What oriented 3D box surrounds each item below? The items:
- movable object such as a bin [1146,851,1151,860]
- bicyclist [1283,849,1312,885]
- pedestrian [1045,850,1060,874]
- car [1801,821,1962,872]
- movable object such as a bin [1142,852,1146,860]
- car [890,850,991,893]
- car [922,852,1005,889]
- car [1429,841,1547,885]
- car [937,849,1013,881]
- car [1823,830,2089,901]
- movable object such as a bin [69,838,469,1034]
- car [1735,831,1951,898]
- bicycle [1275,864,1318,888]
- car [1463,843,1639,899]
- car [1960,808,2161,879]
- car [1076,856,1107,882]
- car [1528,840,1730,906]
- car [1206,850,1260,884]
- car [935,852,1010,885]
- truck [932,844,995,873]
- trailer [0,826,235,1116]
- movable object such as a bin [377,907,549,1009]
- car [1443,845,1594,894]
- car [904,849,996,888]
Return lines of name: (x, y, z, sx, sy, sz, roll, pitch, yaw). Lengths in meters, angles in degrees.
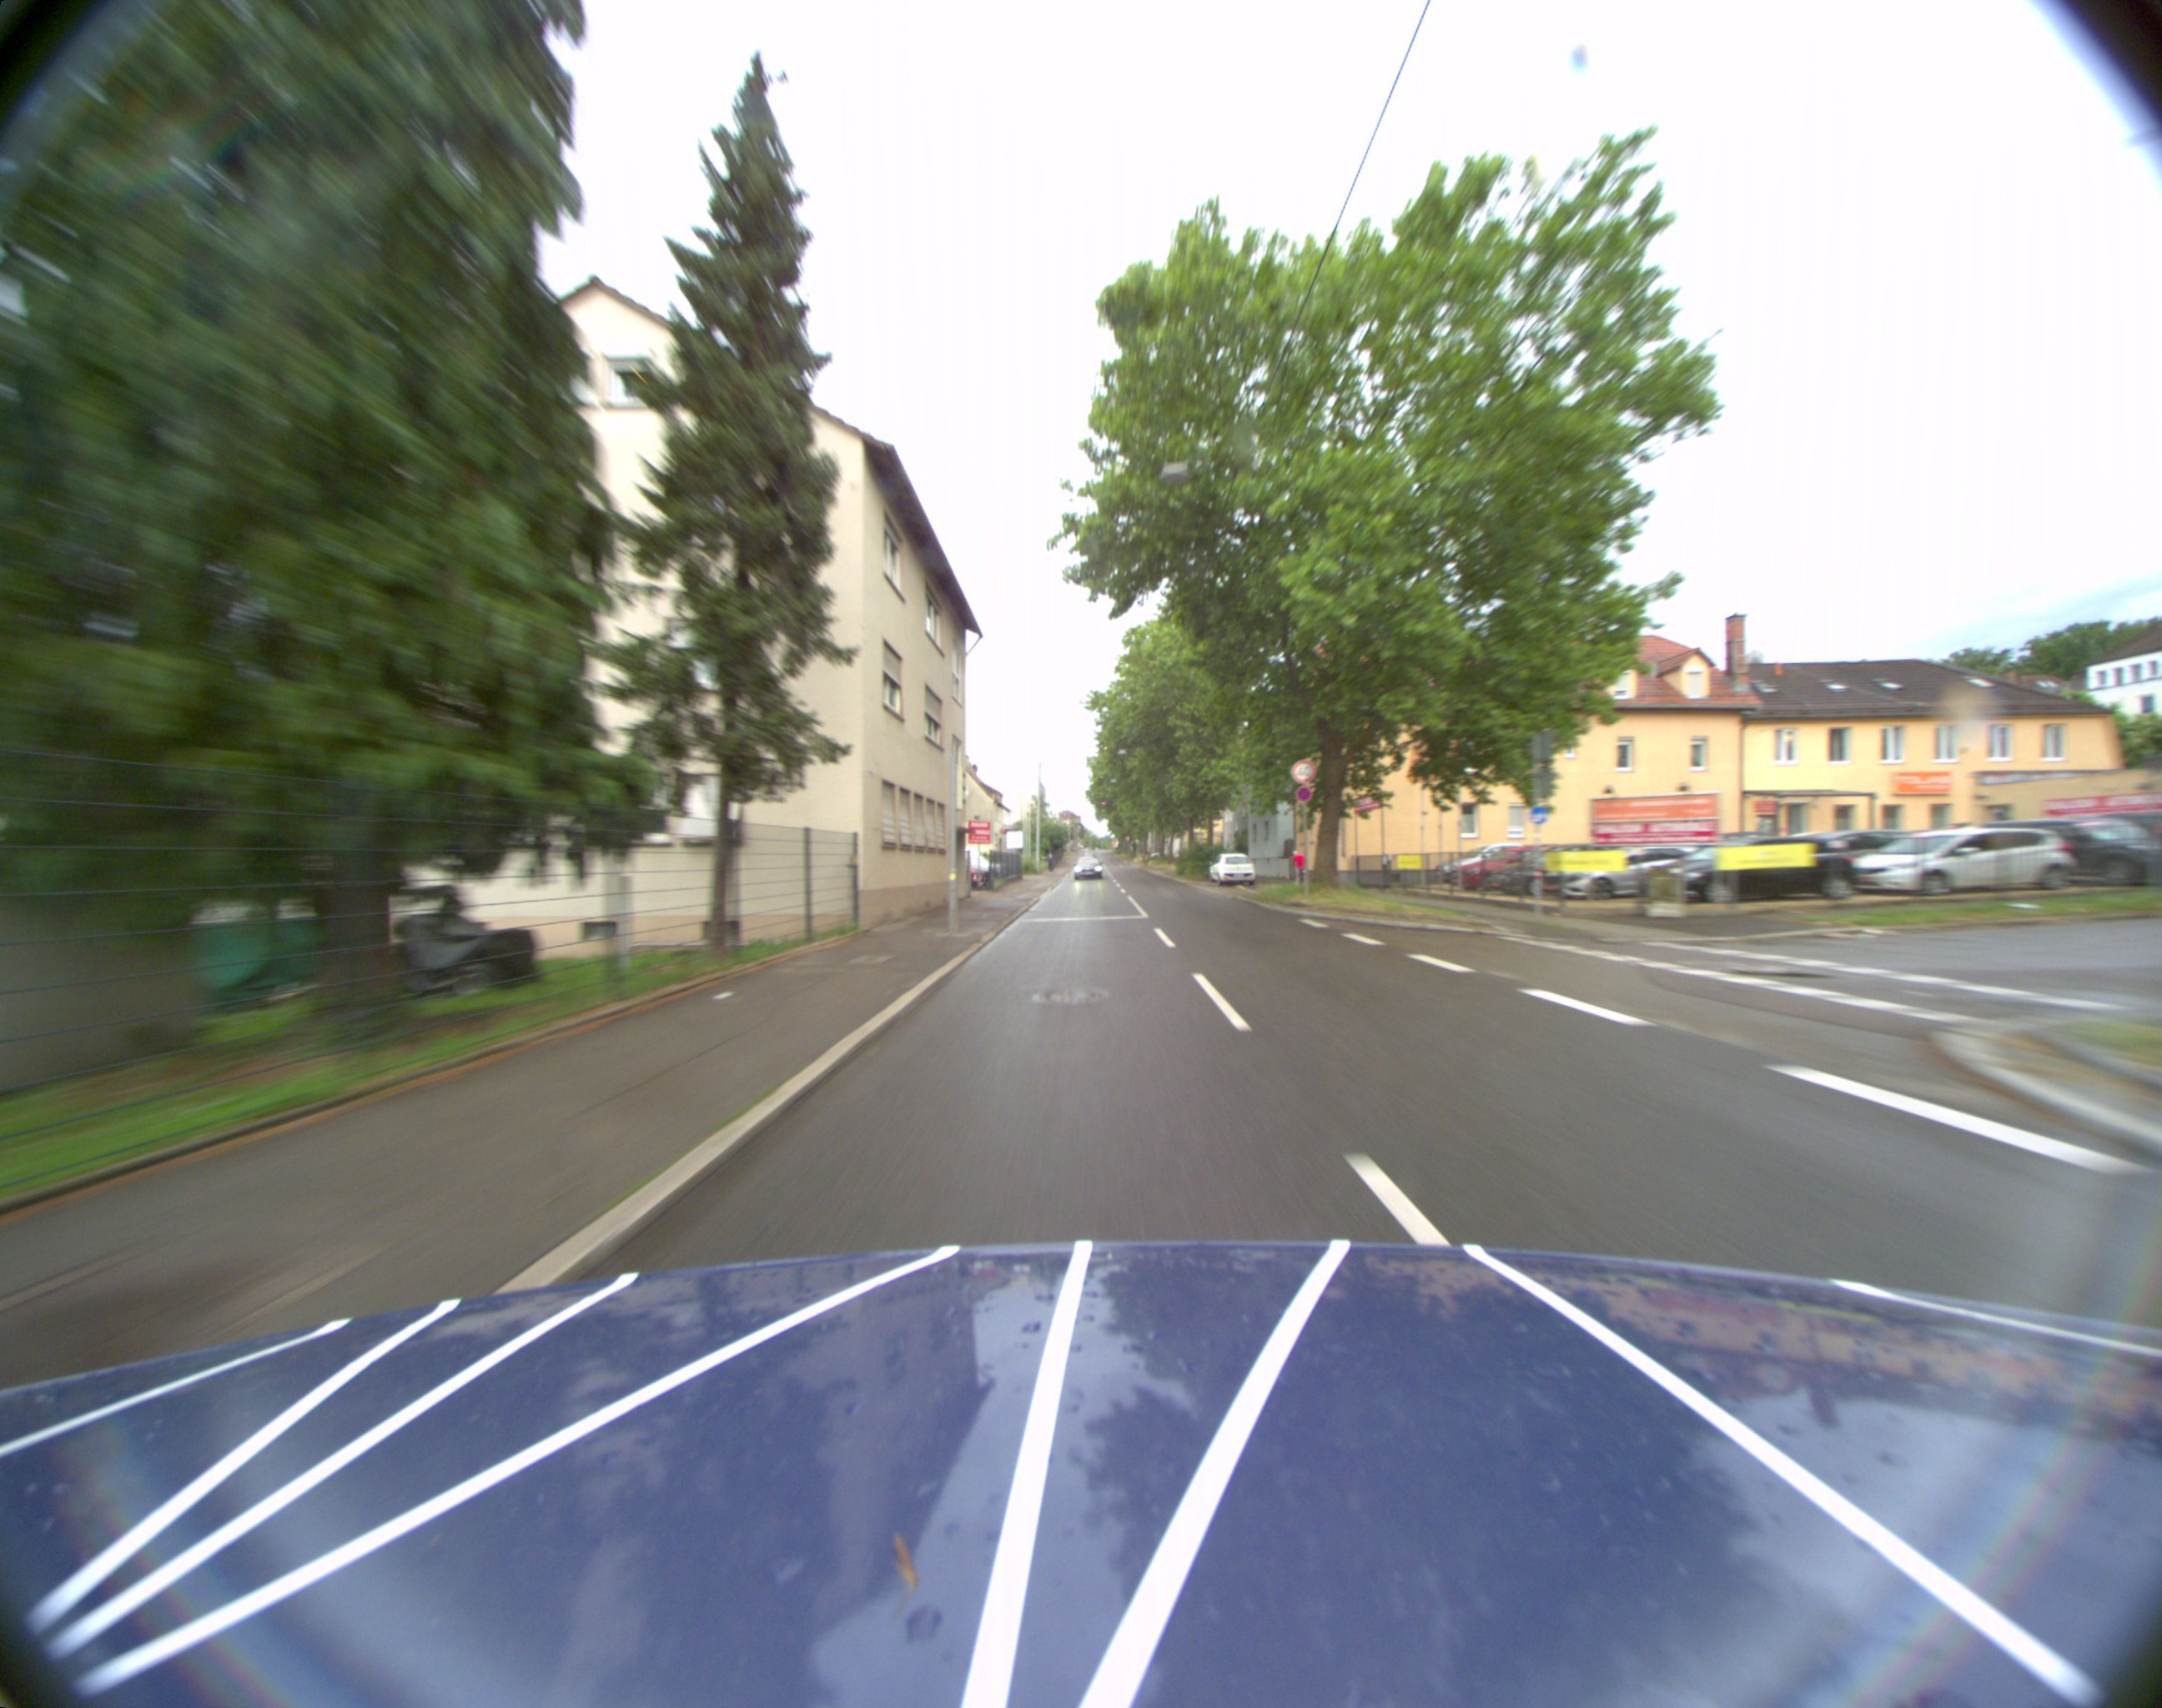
movable object such as a bin: (8.381, 0.201, 94.187, 0.536, 1.051, 0.762, 0, 2, 1)
bicyclist: (9.673, 0.551, 33.960, 0.836, 1.544, 0.815, -3, 2, -22)
pedestrian: (-2.245, 0.615, 59.525, 1.045, 1.887, 0.900, -1, 2, 1)
car: (30.137, -0.298, 28.694, 3.996, 1.674, 1.886, -2, 2, 2)
movable object such as a bin: (7.818, 0.253, 94.123, 0.513, 0.922, 0.581, 0, 2, 1)
car: (-6.479, 0.778, 35.338, 4.238, 1.726, 1.869, -2, 2, 1)
car: (-6.306, 0.881, 41.124, 4.077, 1.726, 1.869, -2, 2, 1)
car: (17.274, 0.378, 32.393, 3.996, 1.605, 1.782, -3, 1, 3)
car: (-6.442, 0.647, 46.612, 4.313, 1.758, 1.999, -2, 2, 1)
car: (21.072, 0.241, 18.455, 4.178, 1.488, 1.999, -2, 2, -1)
movable object such as a bin: (-10.777, 0.951, 10.440, 1.907, 2.230, 3.094, -2, 2, 8)
car: (20.925, 0.249, 21.009, 3.997, 1.643, 1.999, -2, 2, 0)
bicycle: (9.633, 0.970, 34.110, 0.556, 0.990, 2.261, -3, 2, -22)
car: (14.619, 0.513, 23.846, 4.216, 1.529, 2.001, -2, 0, 5)
car: (26.705, -0.308, 20.352, 3.996, 1.674, 1.886, -2, 2, 3)
car: (0.662, 0.989, 50.511, 1.949, 1.644, 3.859, -1, 0, 0)
car: (15.238, 0.492, 21.294, 4.218, 1.530, 1.982, -3, 2, -1)
car: (7.375, 0.604, 37.319, 1.790, 1.542, 4.351, -2, 0, 0)
car: (-6.203, 0.818, 43.802, 3.958, 1.714, 1.791, -2, 1, 1)
truck: (-11.809, 0.451, 76.408, 5.859, 2.623, 2.043, -3, 2, 1)
trailer: (-10.877, 0.983, 6.223, 5.434, 2.175, 2.045, -3, 2, 0)
movable object such as a bin: (-8.588, 1.423, 10.644, 1.331, 1.173, 1.218, -5, 0, 1)
car: (15.247, 0.532, 26.662, 4.108, 1.489, 1.958, -2, 0, 3)
car: (-6.609, 0.719, 38.547, 4.238, 1.726, 1.869, -2, 2, 1)
